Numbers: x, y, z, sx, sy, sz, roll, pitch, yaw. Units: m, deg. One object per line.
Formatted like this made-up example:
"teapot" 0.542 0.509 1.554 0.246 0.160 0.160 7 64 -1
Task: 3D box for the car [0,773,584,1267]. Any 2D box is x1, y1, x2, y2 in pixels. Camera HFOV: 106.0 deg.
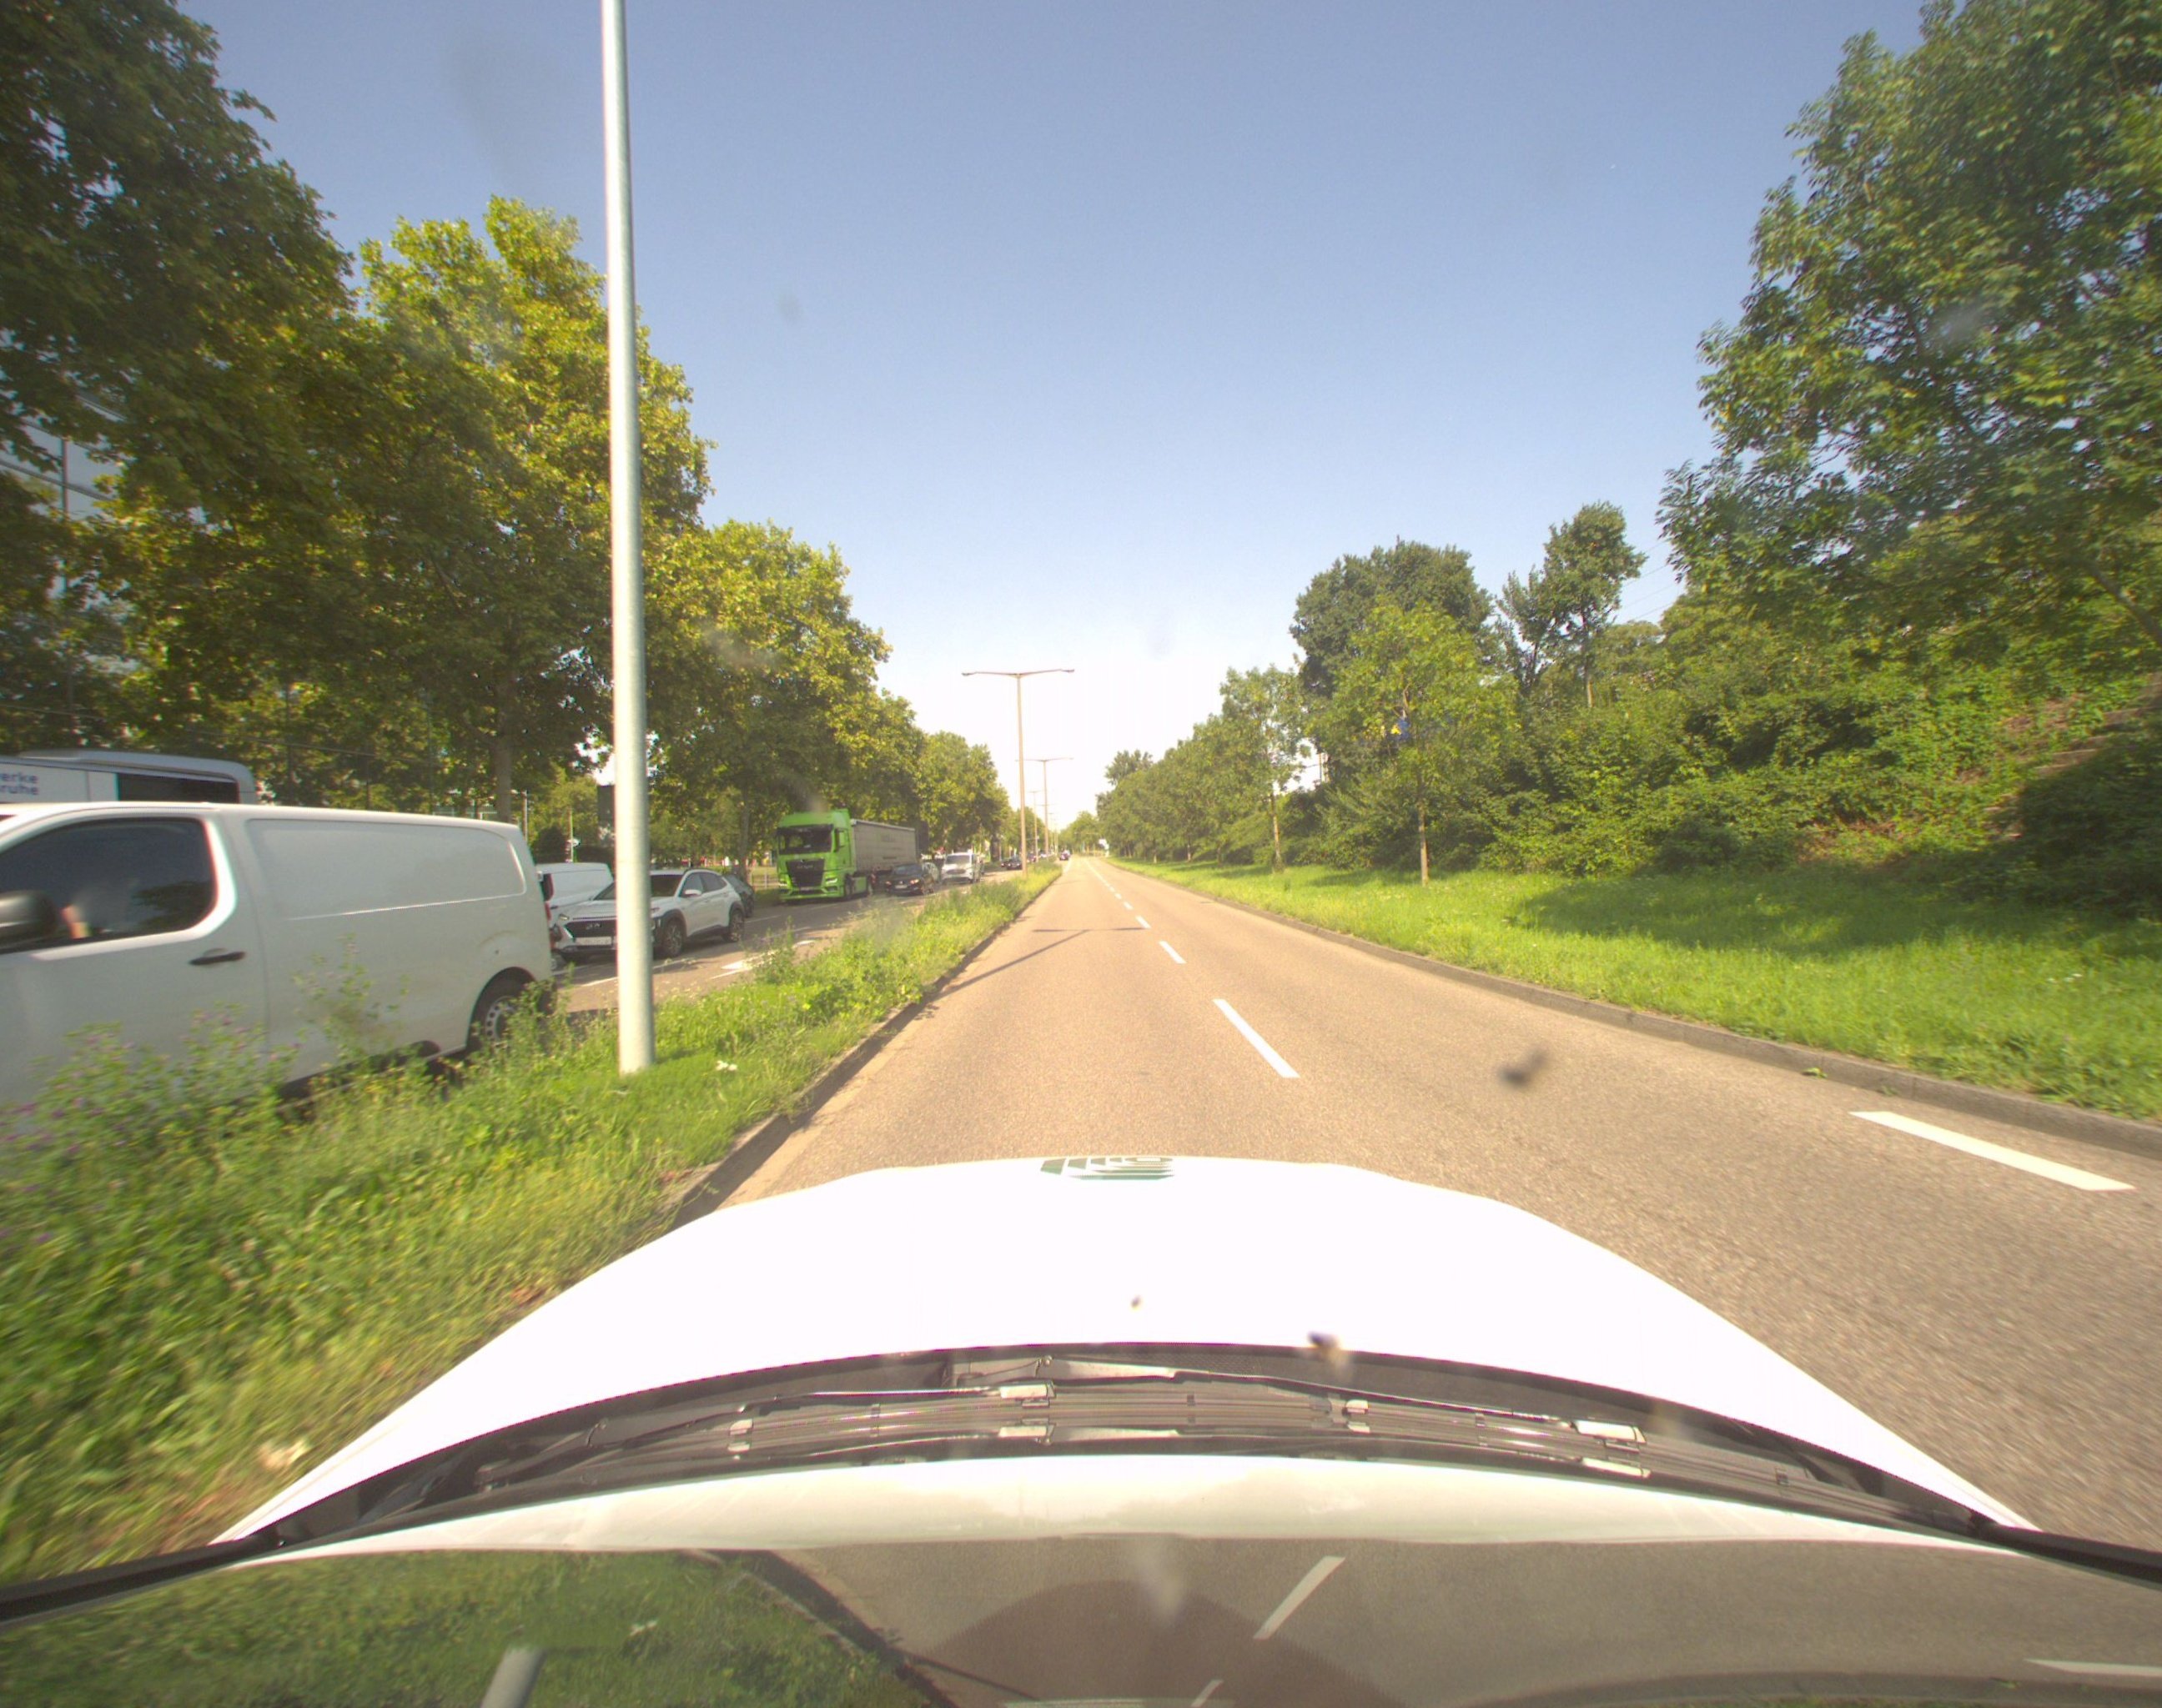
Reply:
"car" -5.070 0.685 4.240 1.906 1.864 4.888 -3 0 -1

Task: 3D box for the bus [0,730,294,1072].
"bus" -11.056 0.413 3.885 2.581 3.079 12.310 -1 -1 0

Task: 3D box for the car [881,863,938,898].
"car" -7.696 1.153 36.795 1.609 1.399 3.858 -4 -1 1

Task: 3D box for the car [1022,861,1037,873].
"car" -7.895 2.007 125.029 1.948 1.724 4.585 -2 -1 0

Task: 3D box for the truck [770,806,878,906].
"truck" -10.907 0.111 35.225 2.600 3.819 5.889 -4 -1 0

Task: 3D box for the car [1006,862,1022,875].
"car" -8.255 1.804 100.771 1.742 1.479 4.583 -4 -1 -2

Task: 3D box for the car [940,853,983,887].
"car" -7.631 0.996 52.421 1.988 1.953 5.034 -3 -1 -1

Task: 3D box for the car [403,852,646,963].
"car" -11.270 0.984 17.021 1.698 1.888 4.748 -4 -1 0

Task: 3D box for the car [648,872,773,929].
"car" -10.970 1.322 24.468 1.642 1.411 4.478 -4 -1 0

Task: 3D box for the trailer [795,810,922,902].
"trailer" -10.945 0.141 42.071 2.625 3.821 13.807 -4 -1 0

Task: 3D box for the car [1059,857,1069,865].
"car" -3.426 1.442 162.115 1.685 1.486 4.003 -2 0 3

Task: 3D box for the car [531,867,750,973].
"car" -7.778 1.065 14.897 1.689 1.528 4.139 -4 -1 0

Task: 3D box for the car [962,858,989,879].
"car" -10.525 1.437 81.781 1.978 1.858 4.968 -4 -1 0
